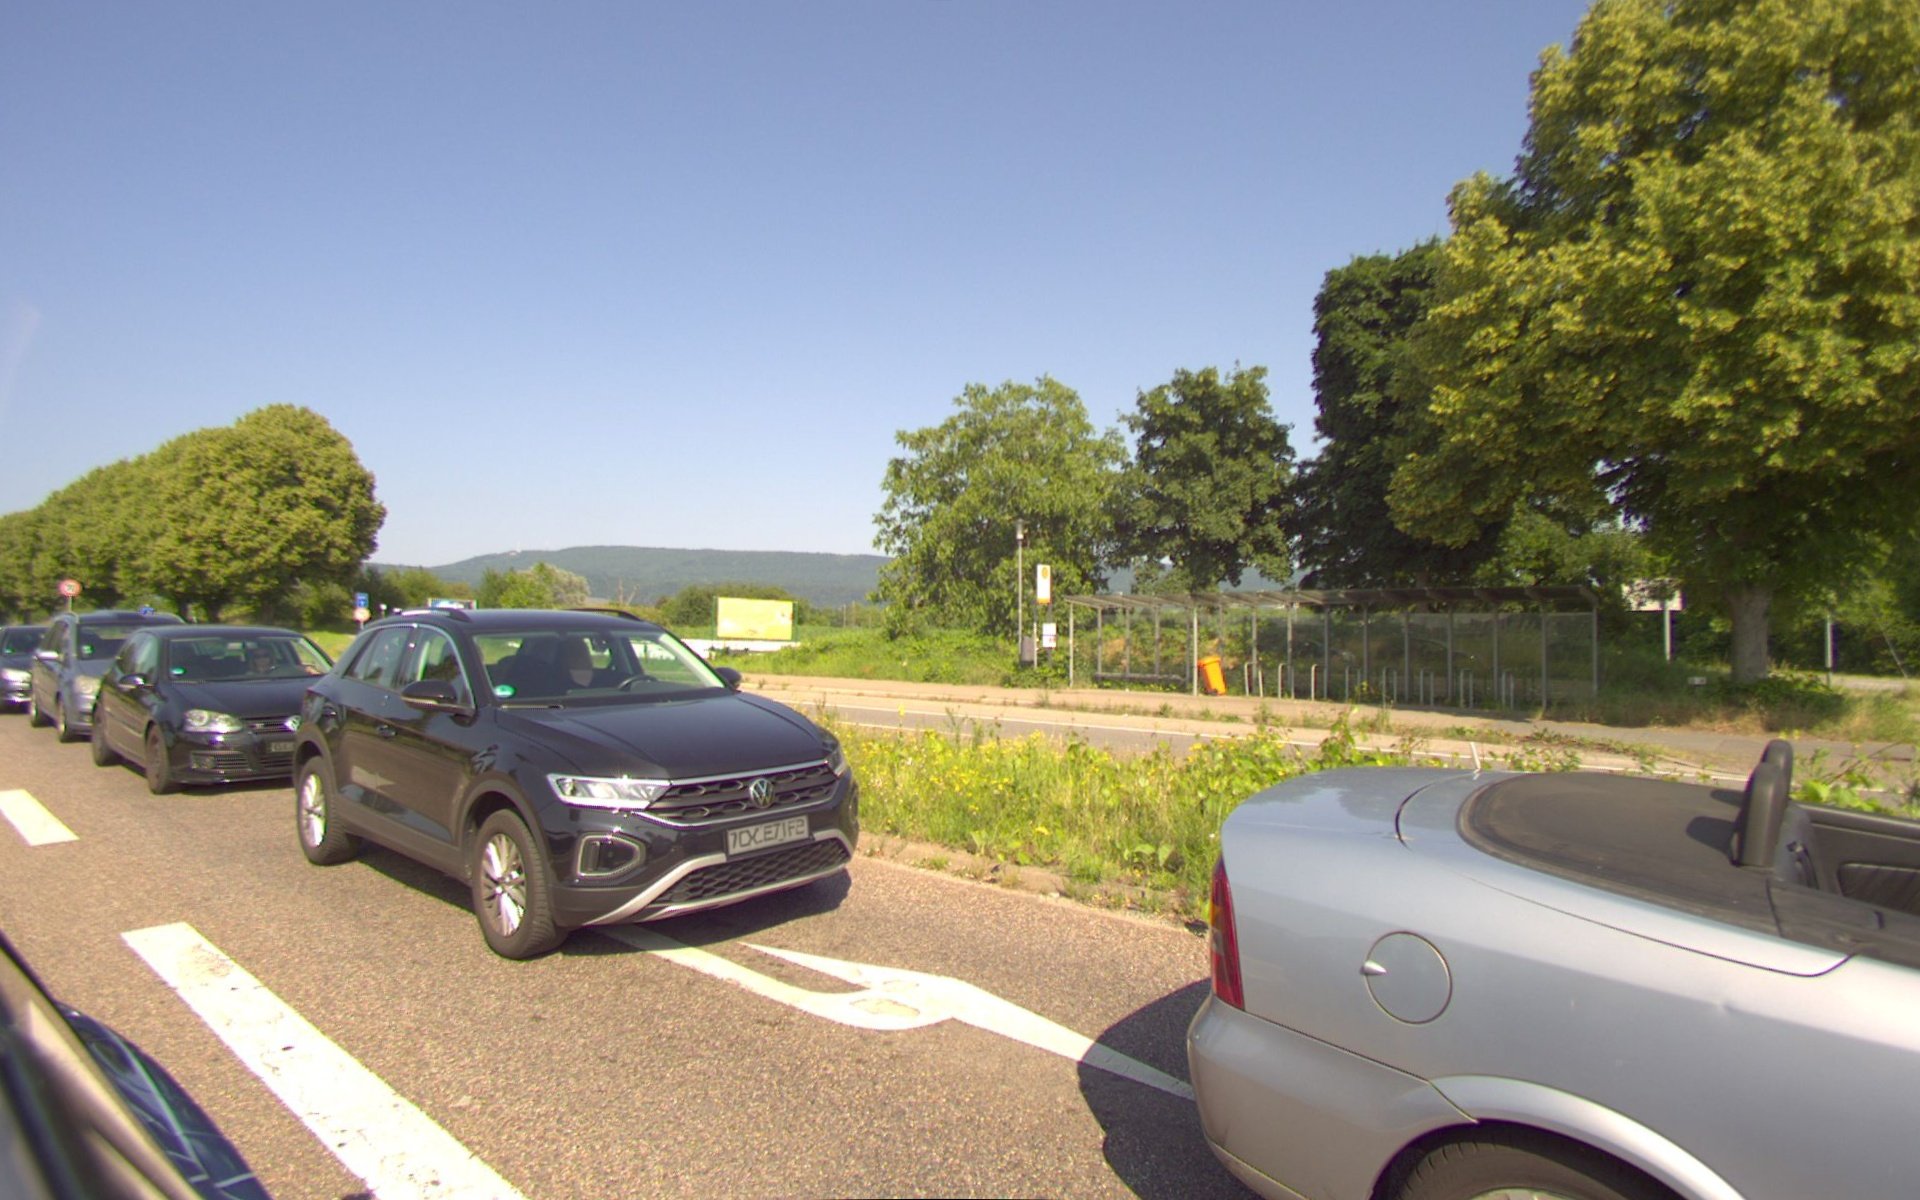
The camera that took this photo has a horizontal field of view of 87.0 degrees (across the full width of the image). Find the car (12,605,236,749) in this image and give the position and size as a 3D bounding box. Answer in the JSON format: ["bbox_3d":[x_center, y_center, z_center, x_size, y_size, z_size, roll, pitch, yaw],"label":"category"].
[{"bbox_3d":[-11.591,0.952,13.928,4.355,1.685,1.723,-2,-2,42],"label":"car"}]

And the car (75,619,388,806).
[{"bbox_3d":[-7.335,0.949,10.036,4.096,1.486,1.648,-2,-2,42],"label":"car"}]

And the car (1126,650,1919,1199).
[{"bbox_3d":[2.423,0.777,1.408,4.096,1.345,1.656,-1,-3,42],"label":"car"}]

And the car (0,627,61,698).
[{"bbox_3d":[-21.400,1.322,22.318,4.639,1.436,1.784,-1,-1,41],"label":"car"}]

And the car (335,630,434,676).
[{"bbox_3d":[-19.949,1.813,35.033,3.771,1.453,1.599,-1,-5,38],"label":"car"}]

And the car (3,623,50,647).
[{"bbox_3d":[-64.102,2.400,69.476,4.145,1.527,1.863,-1,-4,41],"label":"car"}]

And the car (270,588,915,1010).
[{"bbox_3d":[-2.317,0.791,5.763,4.096,1.559,1.710,-2,-2,42],"label":"car"}]

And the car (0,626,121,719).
[{"bbox_3d":[-16.186,1.194,17.696,4.353,1.421,1.696,-2,-1,42],"label":"car"}]
